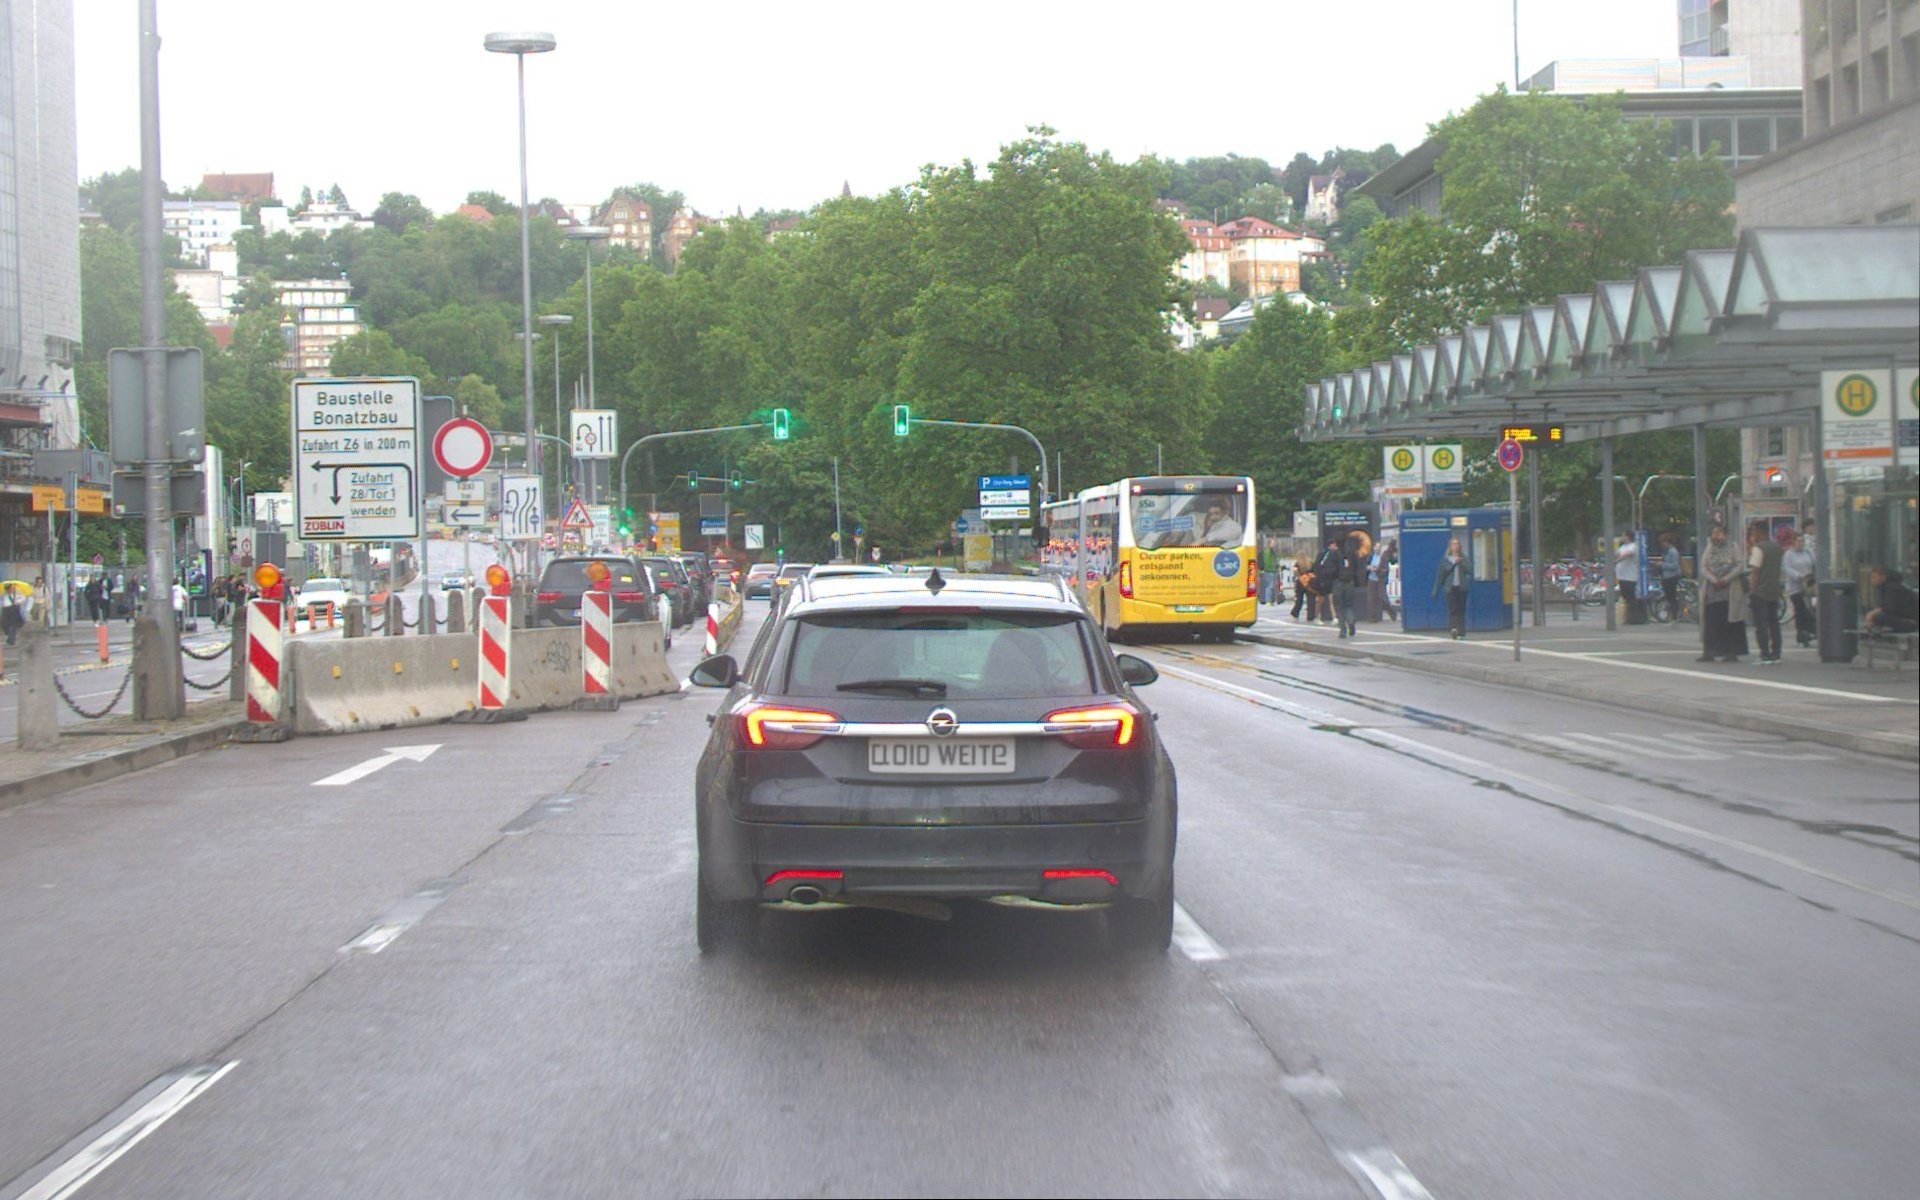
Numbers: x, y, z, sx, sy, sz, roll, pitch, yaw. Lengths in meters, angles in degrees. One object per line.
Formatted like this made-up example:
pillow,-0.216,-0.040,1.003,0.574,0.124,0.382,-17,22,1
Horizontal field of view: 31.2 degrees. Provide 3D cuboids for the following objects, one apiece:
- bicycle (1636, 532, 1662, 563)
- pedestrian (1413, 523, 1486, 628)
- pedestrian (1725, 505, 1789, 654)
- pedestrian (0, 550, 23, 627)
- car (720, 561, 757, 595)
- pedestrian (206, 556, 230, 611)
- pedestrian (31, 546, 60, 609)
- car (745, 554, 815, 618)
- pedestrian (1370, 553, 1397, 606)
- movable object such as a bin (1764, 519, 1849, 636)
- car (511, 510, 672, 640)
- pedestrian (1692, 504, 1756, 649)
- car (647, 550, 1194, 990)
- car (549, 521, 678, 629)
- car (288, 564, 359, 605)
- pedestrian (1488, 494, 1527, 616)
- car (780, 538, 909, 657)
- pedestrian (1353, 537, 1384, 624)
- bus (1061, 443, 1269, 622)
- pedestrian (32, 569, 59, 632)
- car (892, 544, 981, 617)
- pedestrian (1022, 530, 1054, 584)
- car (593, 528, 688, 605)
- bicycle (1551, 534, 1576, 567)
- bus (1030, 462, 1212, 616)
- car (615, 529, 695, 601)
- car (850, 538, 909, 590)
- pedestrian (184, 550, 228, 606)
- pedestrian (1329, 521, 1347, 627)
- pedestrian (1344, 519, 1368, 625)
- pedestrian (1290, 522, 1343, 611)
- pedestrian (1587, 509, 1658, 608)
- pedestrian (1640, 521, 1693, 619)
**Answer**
bicycle,23.871,-1.818,119.092,0.616,1.052,1.996,-3,1,5
pedestrian,7.988,-0.401,56.112,0.759,1.684,0.999,-1,1,-23
pedestrian,9.894,-0.259,42.684,0.627,1.830,0.641,-1,1,0
pedestrian,-23.070,-0.279,82.959,0.875,1.835,0.839,-1,1,-16
car,-11.207,-1.113,173.846,1.706,1.660,3.706,0,0,-1
pedestrian,-25.009,-0.568,115.884,0.697,1.835,0.528,-1,1,-4
pedestrian,-26.959,-0.662,101.343,0.771,1.835,0.835,-1,1,-16
car,-5.766,-0.452,109.709,1.983,2.007,4.370,0,0,-6
pedestrian,9.865,-0.481,80.078,0.514,1.228,0.770,-1,1,1
movable object such as a bin,12.131,-0.327,49.276,0.662,1.646,1.049,-1,1,-25
car,-5.610,-0.401,52.889,1.993,1.856,4.833,-1,1,-1
pedestrian,9.724,-0.300,43.790,0.675,1.830,0.574,-1,1,0
car,-0.169,0.553,14.314,1.877,1.503,4.852,-1,1,-1
car,-5.835,-0.444,58.355,1.993,1.700,4.833,-1,1,-4
car,-23.038,-0.560,124.574,1.993,1.463,4.000,0,0,-2
pedestrian,9.979,-0.821,62.659,0.590,2.207,0.587,-1,1,0
car,-1.720,-0.064,51.765,1.830,1.680,4.134,-1,1,-1
pedestrian,8.619,-0.416,72.567,0.565,1.830,0.569,-1,1,1
bus,3.834,-1.247,66.627,3.141,3.236,9.136,0,0,-2
pedestrian,-24.593,0.017,92.436,0.681,1.679,0.839,-1,1,-16
car,-0.592,-0.477,82.530,1.851,1.711,4.001,0,0,-5
pedestrian,2.687,-1.477,118.052,0.786,1.832,0.950,-1,1,-17
car,-7.243,-0.778,78.224,1.993,1.648,4.642,-1,1,-4
bicycle,20.923,-1.715,119.208,0.616,1.115,1.996,-3,1,5
bus,3.421,-1.290,75.789,3.113,3.194,9.243,0,0,-3
car,-7.934,-0.924,89.718,1.993,1.781,4.455,-1,1,-4
car,-2.446,-1.086,104.294,1.674,1.576,3.240,0,0,-3
pedestrian,-25.201,-0.748,114.893,0.984,1.835,1.040,-1,1,18
pedestrian,6.551,-0.448,59.618,0.243,1.830,0.512,-1,1,1
pedestrian,6.871,-0.489,59.605,0.347,1.830,0.533,-1,1,1
pedestrian,7.400,-0.704,71.296,0.985,1.830,0.835,0,1,14
pedestrian,12.241,-0.758,63.530,0.786,1.798,0.992,-2,1,-30
pedestrian,12.378,-0.529,60.232,0.748,1.689,0.902,-1,1,1
